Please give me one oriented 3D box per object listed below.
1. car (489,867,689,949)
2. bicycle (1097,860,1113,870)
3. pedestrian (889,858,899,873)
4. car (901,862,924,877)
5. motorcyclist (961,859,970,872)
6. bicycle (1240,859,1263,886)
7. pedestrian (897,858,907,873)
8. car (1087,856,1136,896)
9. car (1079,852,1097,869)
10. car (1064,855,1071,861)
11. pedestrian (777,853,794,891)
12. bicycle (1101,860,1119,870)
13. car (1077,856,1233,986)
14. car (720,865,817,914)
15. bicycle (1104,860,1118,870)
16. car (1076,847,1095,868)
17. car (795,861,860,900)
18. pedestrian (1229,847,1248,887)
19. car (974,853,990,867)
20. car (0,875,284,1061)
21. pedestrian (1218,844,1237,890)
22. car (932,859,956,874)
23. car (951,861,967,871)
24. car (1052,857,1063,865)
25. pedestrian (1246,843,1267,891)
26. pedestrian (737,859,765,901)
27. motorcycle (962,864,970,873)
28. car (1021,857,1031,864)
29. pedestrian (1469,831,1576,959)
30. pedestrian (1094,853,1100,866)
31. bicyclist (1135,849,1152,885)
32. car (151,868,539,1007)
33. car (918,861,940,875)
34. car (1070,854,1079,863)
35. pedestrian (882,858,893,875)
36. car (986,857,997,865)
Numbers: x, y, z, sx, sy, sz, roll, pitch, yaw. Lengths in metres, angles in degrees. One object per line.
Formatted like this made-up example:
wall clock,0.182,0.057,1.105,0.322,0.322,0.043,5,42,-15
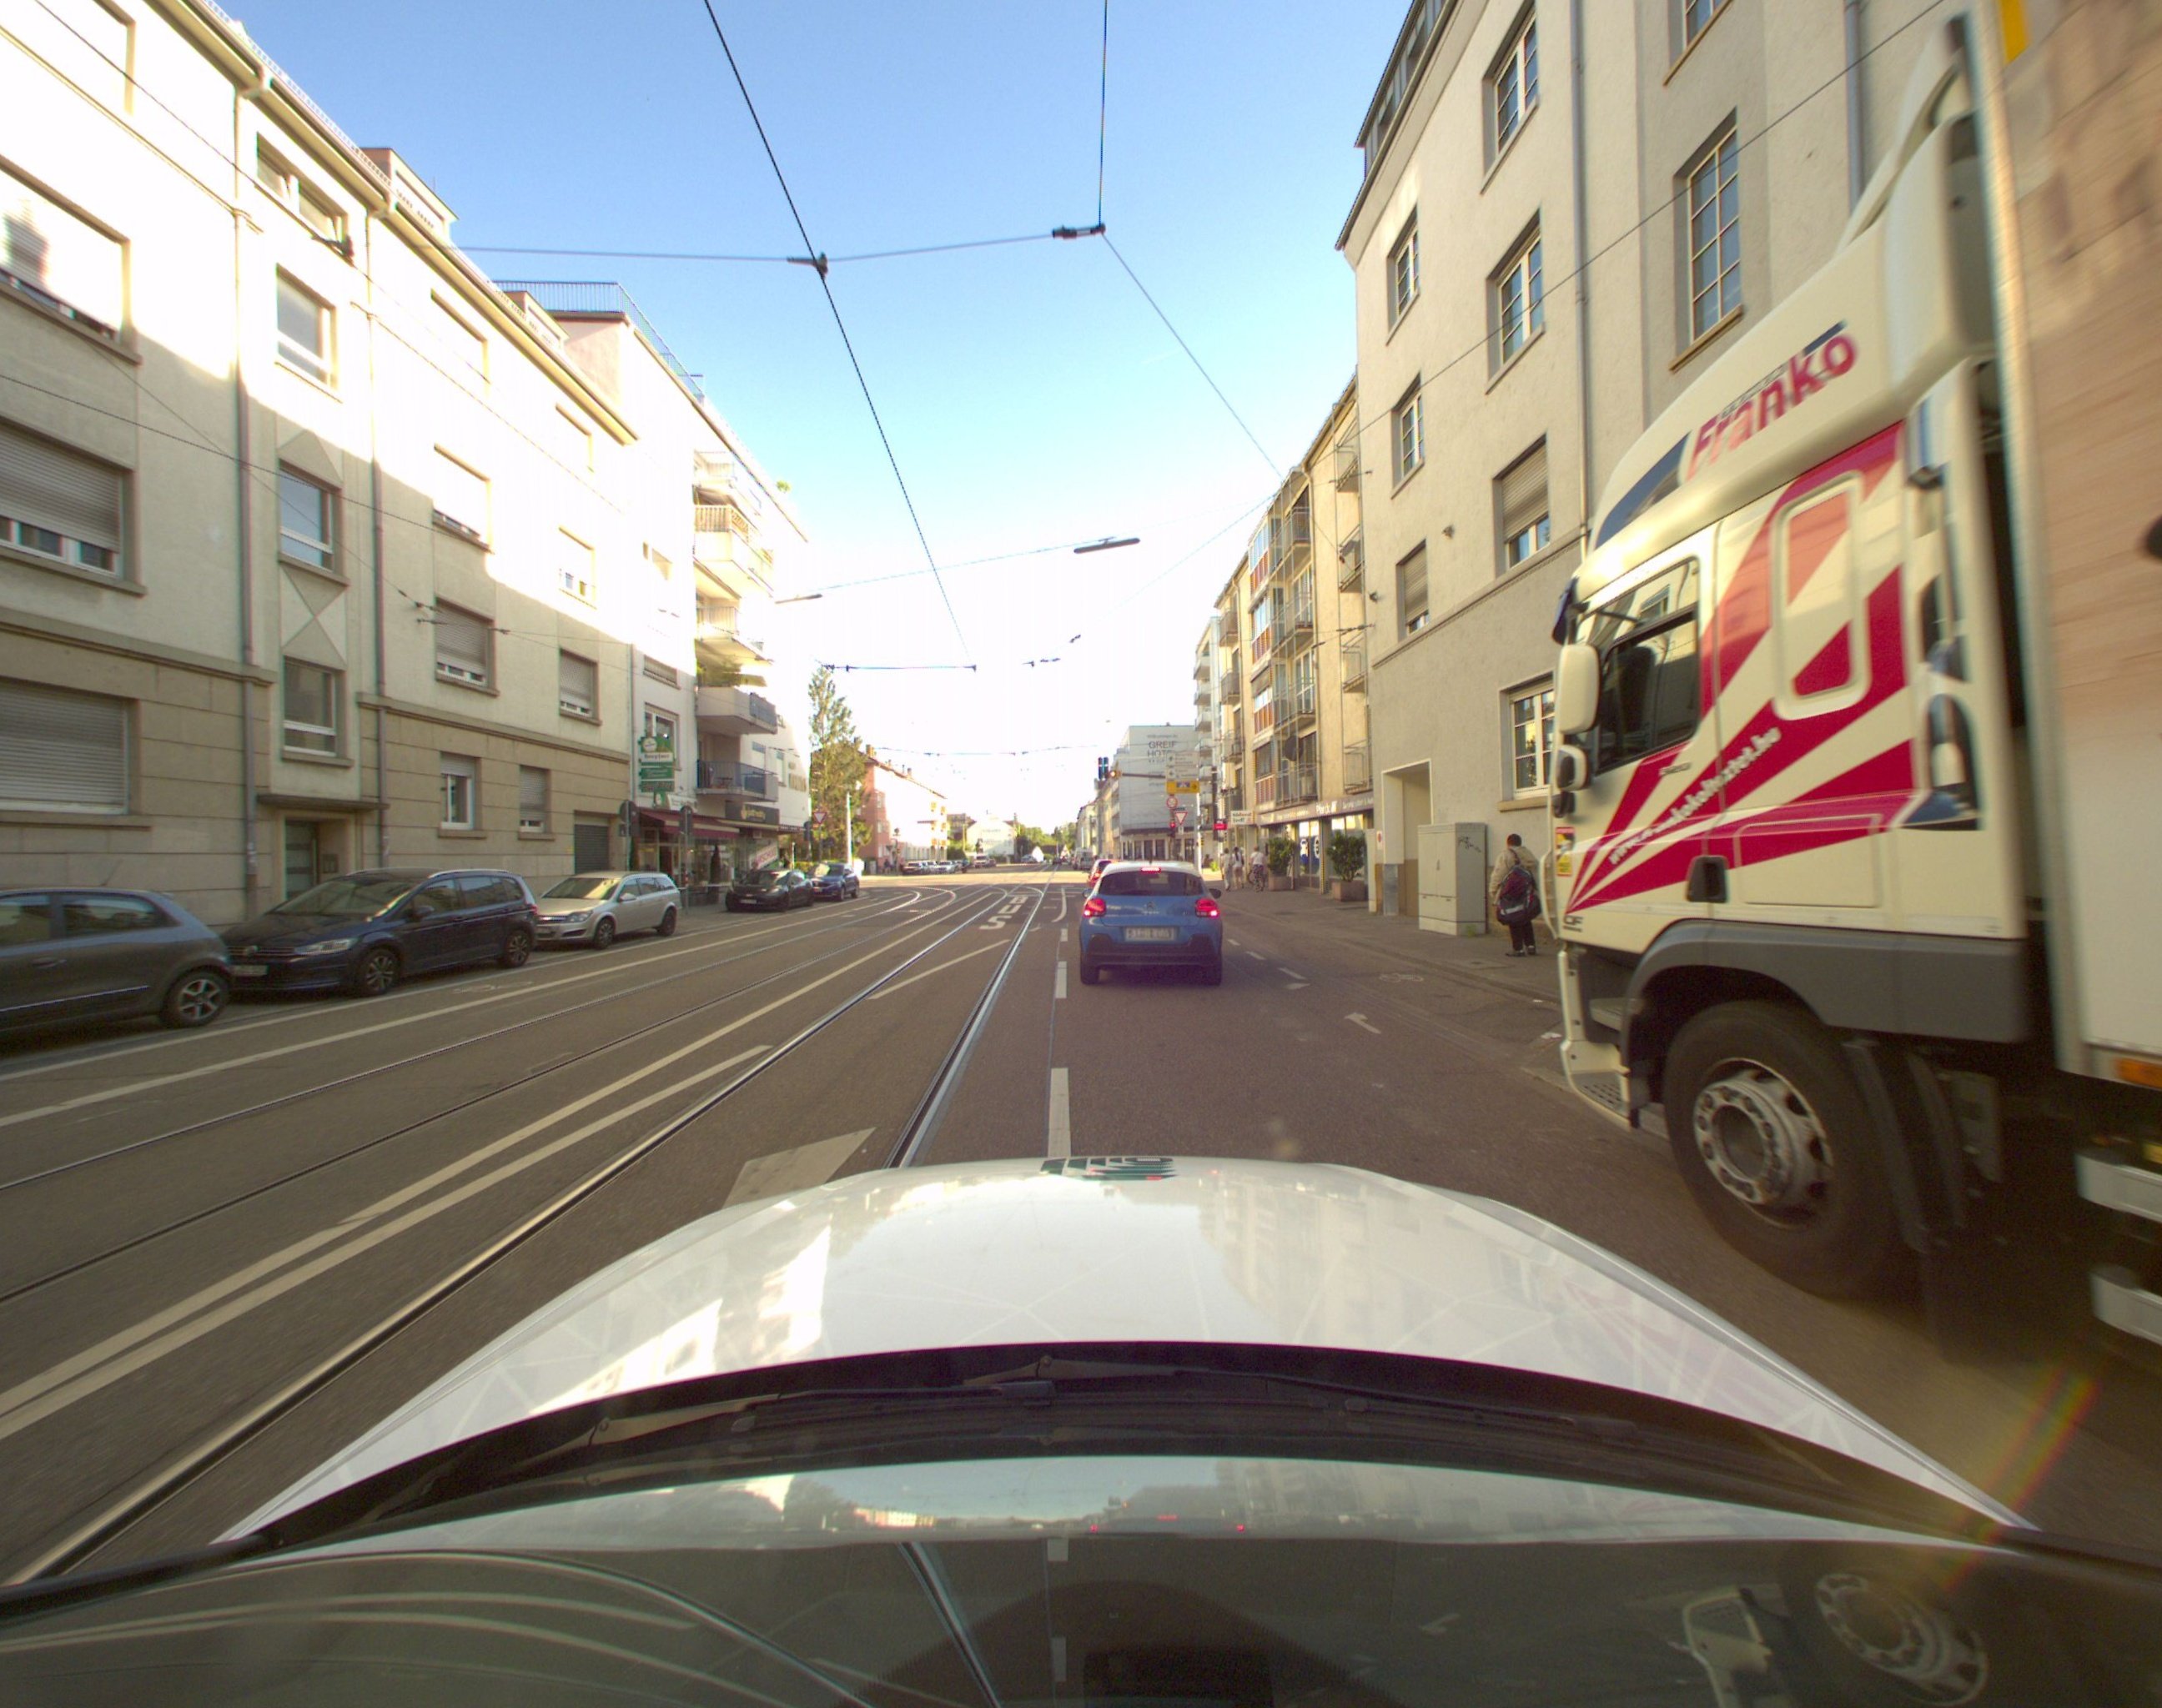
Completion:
car,-10.284,1.051,17.482,1.695,1.509,4.383,0,-1,-2
bicycle,2.556,1.165,86.247,1.713,0.957,0.702,-1,0,3
pedestrian,-20.809,1.251,90.702,0.840,1.690,0.738,-1,0,4
car,-18.012,1.623,87.154,1.907,1.433,3.995,-1,0,-4
motorcyclist,-12.067,1.230,85.310,0.716,1.378,0.912,-1,0,2
bicycle,7.026,0.744,33.617,0.528,1.072,1.810,-1,0,-1
pedestrian,-19.930,1.246,90.790,0.840,1.690,0.738,-1,0,4
car,1.167,0.806,31.361,1.732,1.420,4.002,-1,0,2
car,0.714,0.675,85.412,1.727,1.750,3.212,0,-1,-1
car,-4.379,1.384,256.484,1.986,1.794,4.002,-1,0,2
pedestrian,-15.824,0.937,43.617,0.685,2.013,0.485,-1,0,-4
bicycle,3.035,1.147,84.876,1.866,0.957,0.702,-1,0,3
car,0.822,0.759,11.143,1.738,1.462,3.998,0,0,-1
car,-10.548,1.151,27.826,1.694,1.509,4.310,0,-1,-1
bicycle,3.091,1.139,83.814,1.497,0.957,0.702,-1,0,3
car,0.440,0.374,90.340,1.988,2.325,3.997,0,-1,-1
car,-10.452,1.060,33.837,1.742,1.509,3.992,0,-1,-5
pedestrian,6.248,0.513,32.300,0.539,1.507,0.611,-3,1,0
car,-16.764,0.973,137.587,2.201,2.251,4.673,-1,0,-2
car,-10.180,1.001,7.520,1.694,1.569,3.998,0,-1,-1
pedestrian,5.543,0.487,30.823,0.539,1.672,0.624,-3,1,0
car,-15.402,1.433,91.712,1.843,1.574,4.402,-1,0,1
car,-18.609,1.796,124.441,1.906,1.497,3.996,-1,0,-2
car,-4.301,1.283,149.814,1.752,1.259,3.825,-1,0,-5
pedestrian,6.228,0.462,28.929,0.539,1.672,0.650,-3,0,0
pedestrian,-12.262,0.955,30.262,0.695,1.548,0.722,-1,0,2
motorcycle,-12.066,1.518,85.463,0.613,0.864,1.671,-1,0,2
car,-12.627,1.555,187.681,2.016,1.525,3.997,-1,0,-2
pedestrian,5.682,0.507,10.530,0.822,1.534,0.869,-3,0,0
pedestrian,2.137,0.759,106.624,0.706,1.709,0.748,-1,0,1
bicyclist,2.919,0.579,38.002,0.723,1.646,0.790,-1,0,1
car,-10.049,1.015,11.689,1.694,1.615,4.241,0,-1,-1
car,-18.169,1.659,97.515,1.906,1.497,3.996,-1,0,-2
car,-1.182,0.821,149.625,1.684,1.618,3.998,0,-1,-1
pedestrian,-20.139,1.303,84.767,0.840,1.690,0.738,-1,0,4
car,-17.906,1.477,162.936,2.016,1.525,3.997,-1,0,-2
